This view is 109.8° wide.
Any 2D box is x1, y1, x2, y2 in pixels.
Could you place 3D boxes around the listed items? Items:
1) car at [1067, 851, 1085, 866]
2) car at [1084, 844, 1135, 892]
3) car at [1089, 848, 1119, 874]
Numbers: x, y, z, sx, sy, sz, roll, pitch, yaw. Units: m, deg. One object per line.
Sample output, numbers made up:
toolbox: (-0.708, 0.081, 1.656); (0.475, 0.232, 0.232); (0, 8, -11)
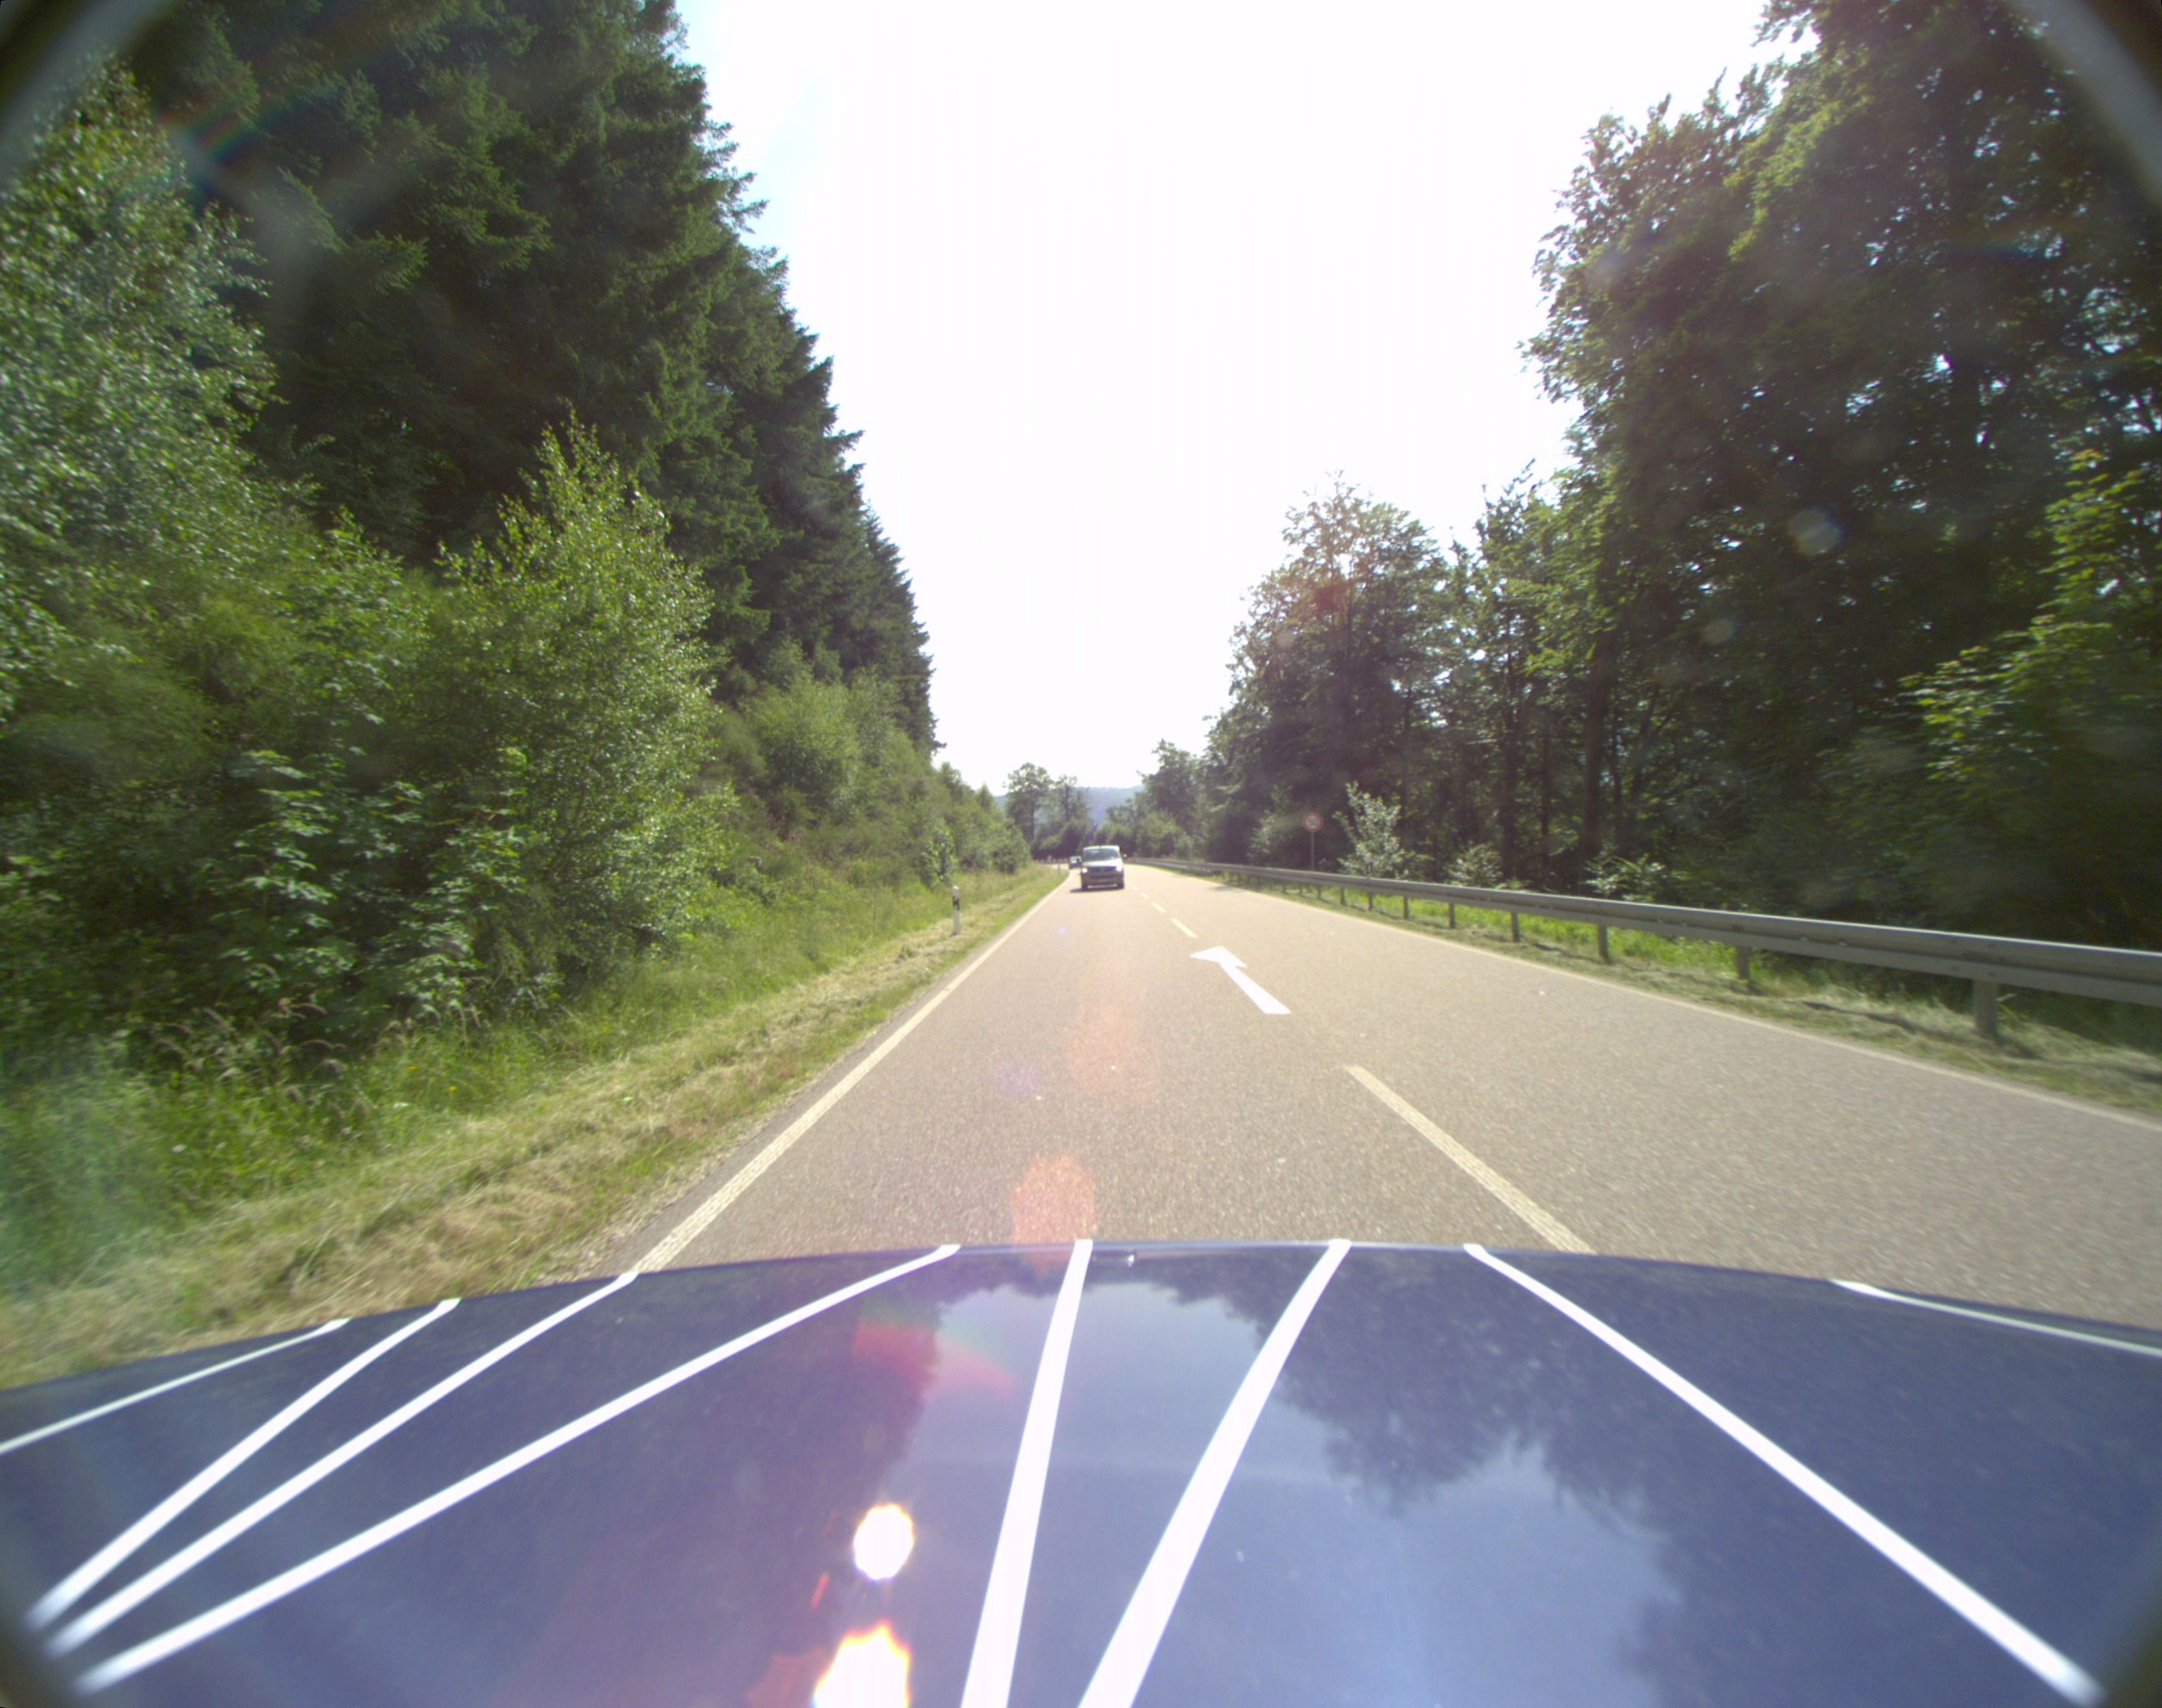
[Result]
car: (-0.662, 0.529, 92.303); (1.999, 1.718, 3.999); (-3, 1, -2)
car: (1.273, 0.573, 34.513); (1.990, 1.899, 4.760); (-4, 0, 2)
car: (1.779, 0.502, 59.635); (2.137, 1.825, 4.722); (-4, 1, 0)
